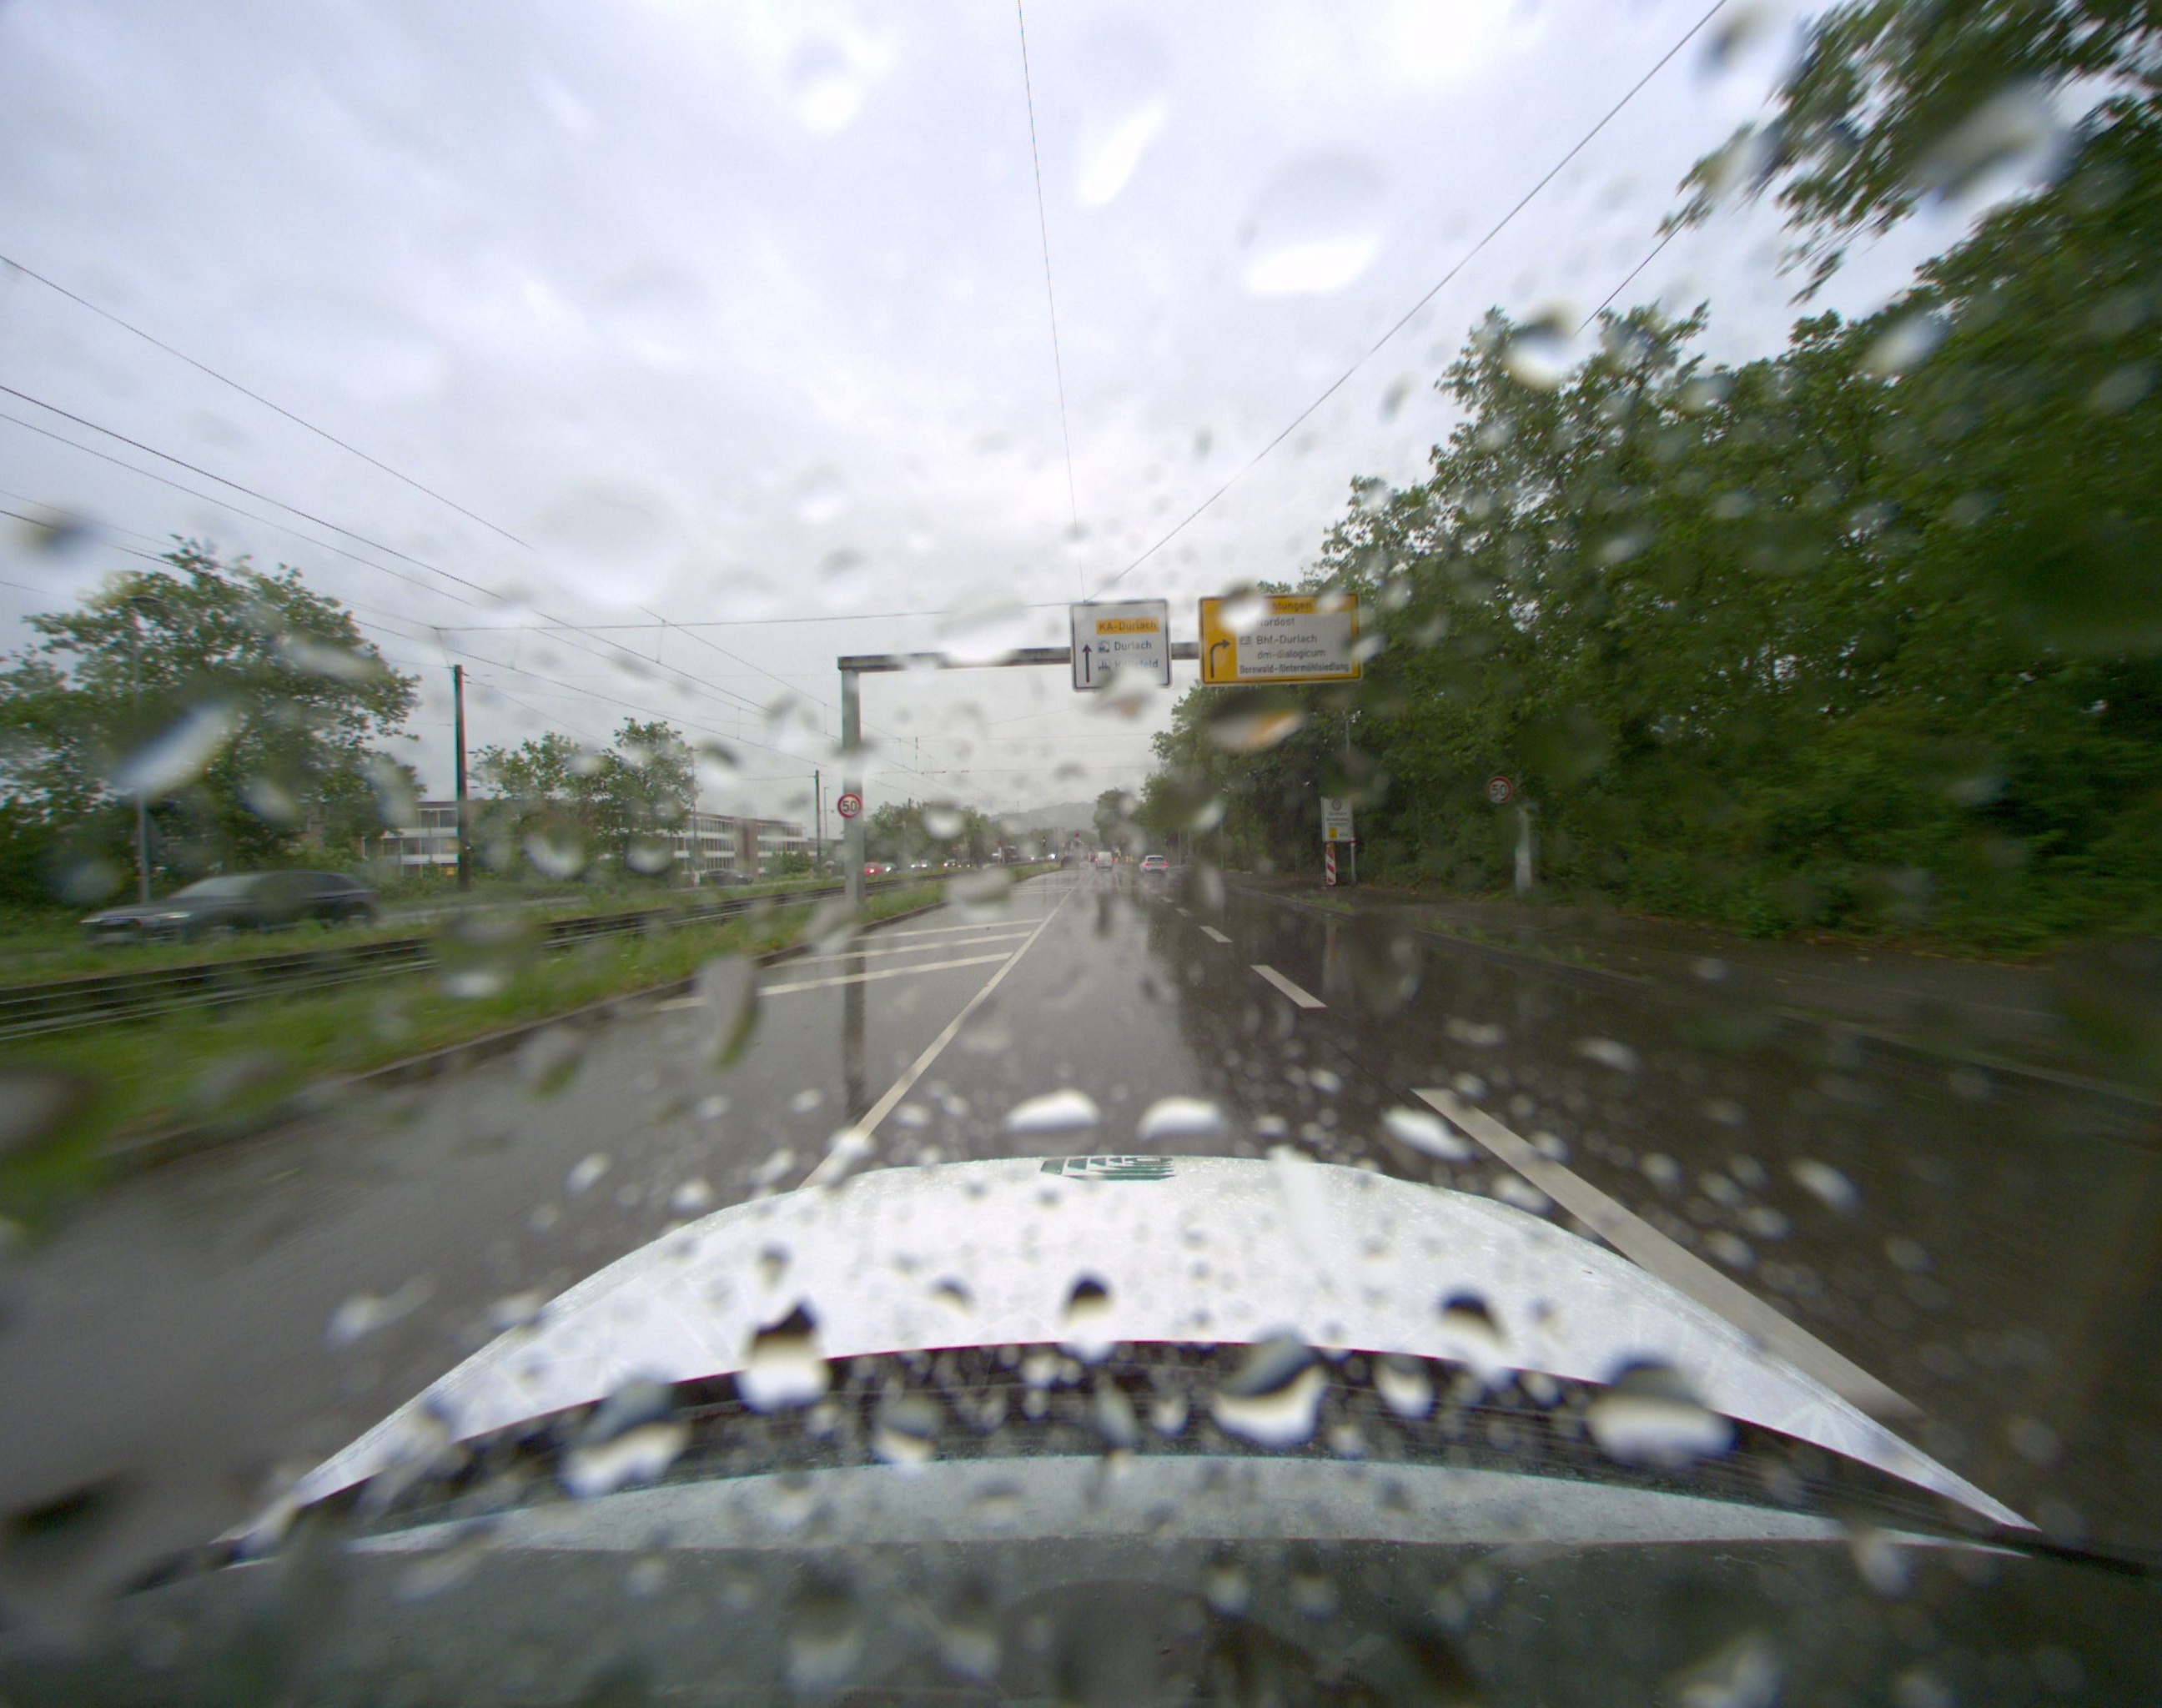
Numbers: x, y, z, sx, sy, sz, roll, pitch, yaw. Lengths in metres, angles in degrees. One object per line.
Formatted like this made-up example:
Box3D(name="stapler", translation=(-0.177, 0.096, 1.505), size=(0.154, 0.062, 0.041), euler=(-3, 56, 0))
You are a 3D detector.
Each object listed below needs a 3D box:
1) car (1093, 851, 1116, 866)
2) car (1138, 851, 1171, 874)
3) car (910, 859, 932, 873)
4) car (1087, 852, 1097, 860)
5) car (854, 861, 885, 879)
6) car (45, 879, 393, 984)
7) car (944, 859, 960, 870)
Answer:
Box3D(name="car", translation=(2.285, 0.427, 79.275), size=(2.070, 1.420, 4.002), euler=(-2, 0, 2))
Box3D(name="car", translation=(5.191, 0.582, 58.051), size=(1.941, 1.536, 4.467), euler=(-1, 0, 1))
Box3D(name="car", translation=(-19.171, 1.405, 97.943), size=(1.714, 1.494, 4.000), euler=(-2, 0, 1))
Box3D(name="car", translation=(2.394, 0.410, 178.317), size=(1.987, 1.547, 4.001), euler=(0, 0, 1))
Box3D(name="car", translation=(-19.558, 1.487, 75.561), size=(1.714, 1.494, 4.000), euler=(-2, 0, 1))
Box3D(name="car", translation=(-17.286, 1.438, 16.846), size=(1.938, 1.616, 4.985), euler=(-2, 0, -2))
Box3D(name="car", translation=(-19.007, 1.555, 120.036), size=(1.714, 1.494, 4.000), euler=(-2, 0, 1))
